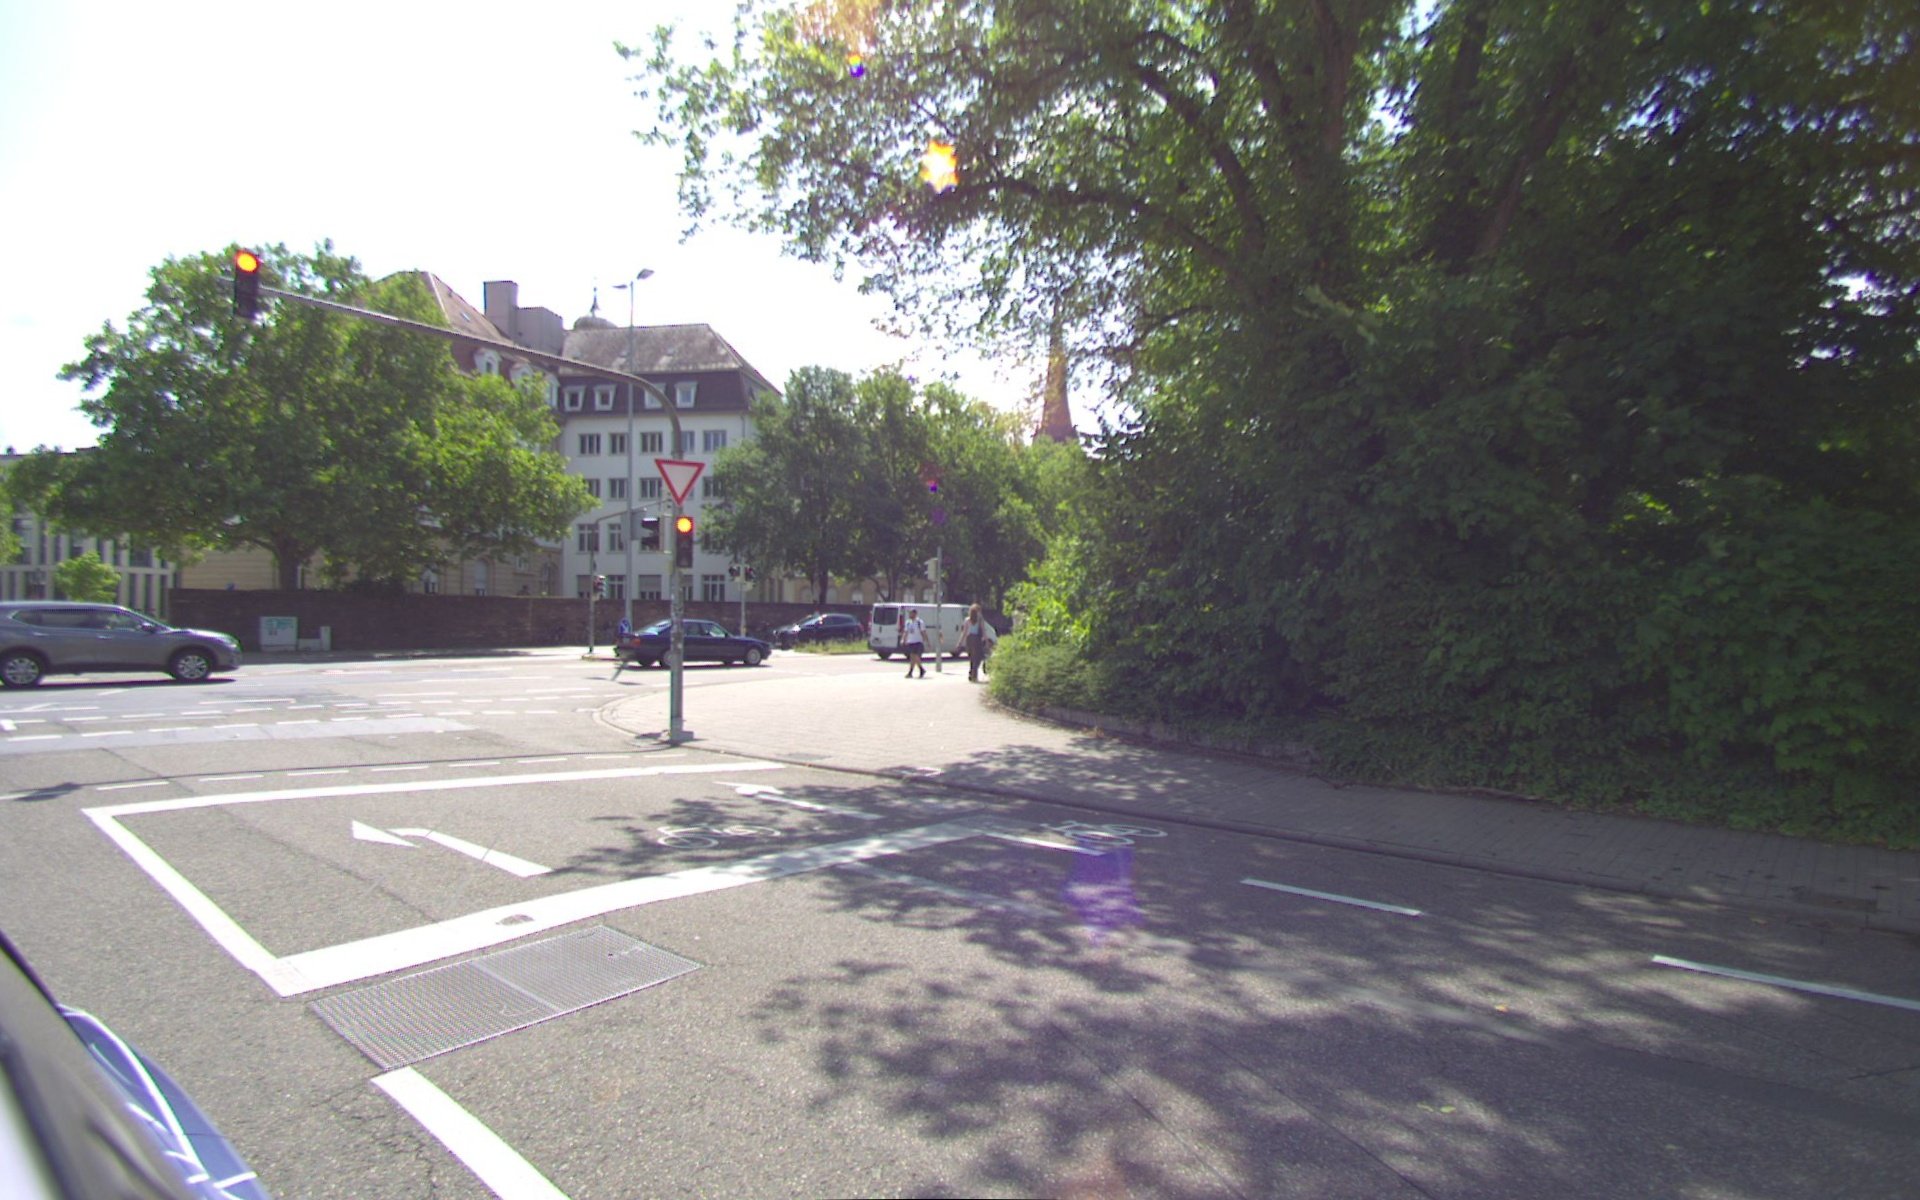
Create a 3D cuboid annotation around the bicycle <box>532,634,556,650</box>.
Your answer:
[{"bbox_3d":[-19.270,1.958,46.915,0.999,0.687,0.406,1,0,18],"label":"bicycle"}]

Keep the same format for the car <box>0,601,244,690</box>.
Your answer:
[{"bbox_3d":[-17.620,0.891,20.897,4.410,1.691,1.827,1,-1,-43],"label":"car"}]

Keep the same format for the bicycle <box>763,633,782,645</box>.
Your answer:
[{"bbox_3d":[-10.800,2.255,58.442,0.994,0.687,0.408,2,0,5],"label":"bicycle"}]

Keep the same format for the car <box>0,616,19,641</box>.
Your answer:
[{"bbox_3d":[-51.999,1.493,52.428,1.978,1.316,4.479,2,0,10],"label":"car"}]

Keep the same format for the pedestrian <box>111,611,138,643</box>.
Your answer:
[{"bbox_3d":[-48.157,1.547,58.363,0.878,1.803,0.845,0,-2,-9],"label":"pedestrian"}]

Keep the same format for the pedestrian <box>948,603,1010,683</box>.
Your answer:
[{"bbox_3d":[0.409,0.893,21.570,0.856,1.639,1.007,-2,-1,37],"label":"pedestrian"}]

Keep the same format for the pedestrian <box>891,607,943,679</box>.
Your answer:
[{"bbox_3d":[-1.055,1.057,24.874,0.917,1.714,0.854,2,-4,-45],"label":"pedestrian"}]

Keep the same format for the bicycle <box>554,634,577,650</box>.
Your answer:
[{"bbox_3d":[-18.664,1.989,47.898,0.999,0.687,0.406,1,0,18],"label":"bicycle"}]

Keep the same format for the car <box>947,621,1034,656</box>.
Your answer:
[{"bbox_3d":[1.411,1.734,45.864,3.747,1.483,1.756,2,-1,-43],"label":"car"}]

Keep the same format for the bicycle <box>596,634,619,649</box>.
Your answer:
[{"bbox_3d":[-17.289,2.035,49.675,0.999,0.687,0.406,1,0,18],"label":"bicycle"}]

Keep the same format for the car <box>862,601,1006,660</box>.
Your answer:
[{"bbox_3d":[-0.871,1.074,36.526,5.114,1.970,2.015,1,-1,-42],"label":"car"}]

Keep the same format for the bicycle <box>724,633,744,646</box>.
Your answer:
[{"bbox_3d":[-12.561,2.196,56.152,0.994,0.687,0.408,2,0,5],"label":"bicycle"}]

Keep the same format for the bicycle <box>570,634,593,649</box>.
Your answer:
[{"bbox_3d":[-18.201,2.005,48.645,0.999,0.687,0.406,1,0,18],"label":"bicycle"}]

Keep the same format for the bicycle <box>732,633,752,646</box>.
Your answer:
[{"bbox_3d":[-12.200,2.208,56.652,0.994,0.687,0.408,2,0,5],"label":"bicycle"}]

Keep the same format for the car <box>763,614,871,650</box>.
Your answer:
[{"bbox_3d":[-6.348,1.409,45.317,2.000,1.540,4.650,-1,-2,42],"label":"car"}]

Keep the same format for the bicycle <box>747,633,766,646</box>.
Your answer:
[{"bbox_3d":[-11.545,2.229,57.398,0.994,0.687,0.408,2,0,5],"label":"bicycle"}]

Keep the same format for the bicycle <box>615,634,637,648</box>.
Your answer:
[{"bbox_3d":[-16.743,2.055,50.743,0.999,0.687,0.406,1,0,18],"label":"bicycle"}]

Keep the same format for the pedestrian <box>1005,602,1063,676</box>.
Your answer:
[{"bbox_3d":[1.763,0.906,24.107,1.162,1.717,0.800,0,0,-19],"label":"pedestrian"}]

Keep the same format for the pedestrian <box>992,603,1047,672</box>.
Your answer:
[{"bbox_3d":[1.503,0.929,25.545,1.162,1.717,0.800,0,0,-19],"label":"pedestrian"}]

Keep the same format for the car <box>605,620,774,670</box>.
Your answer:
[{"bbox_3d":[-7.971,1.307,30.085,4.541,1.397,1.700,2,-2,-40],"label":"car"}]

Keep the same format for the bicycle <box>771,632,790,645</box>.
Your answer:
[{"bbox_3d":[-10.504,2.255,59.173,0.994,0.687,0.408,2,0,5],"label":"bicycle"}]

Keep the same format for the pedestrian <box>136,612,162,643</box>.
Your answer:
[{"bbox_3d":[-47.026,1.587,58.696,0.851,1.803,0.846,0,-2,-15],"label":"pedestrian"}]
